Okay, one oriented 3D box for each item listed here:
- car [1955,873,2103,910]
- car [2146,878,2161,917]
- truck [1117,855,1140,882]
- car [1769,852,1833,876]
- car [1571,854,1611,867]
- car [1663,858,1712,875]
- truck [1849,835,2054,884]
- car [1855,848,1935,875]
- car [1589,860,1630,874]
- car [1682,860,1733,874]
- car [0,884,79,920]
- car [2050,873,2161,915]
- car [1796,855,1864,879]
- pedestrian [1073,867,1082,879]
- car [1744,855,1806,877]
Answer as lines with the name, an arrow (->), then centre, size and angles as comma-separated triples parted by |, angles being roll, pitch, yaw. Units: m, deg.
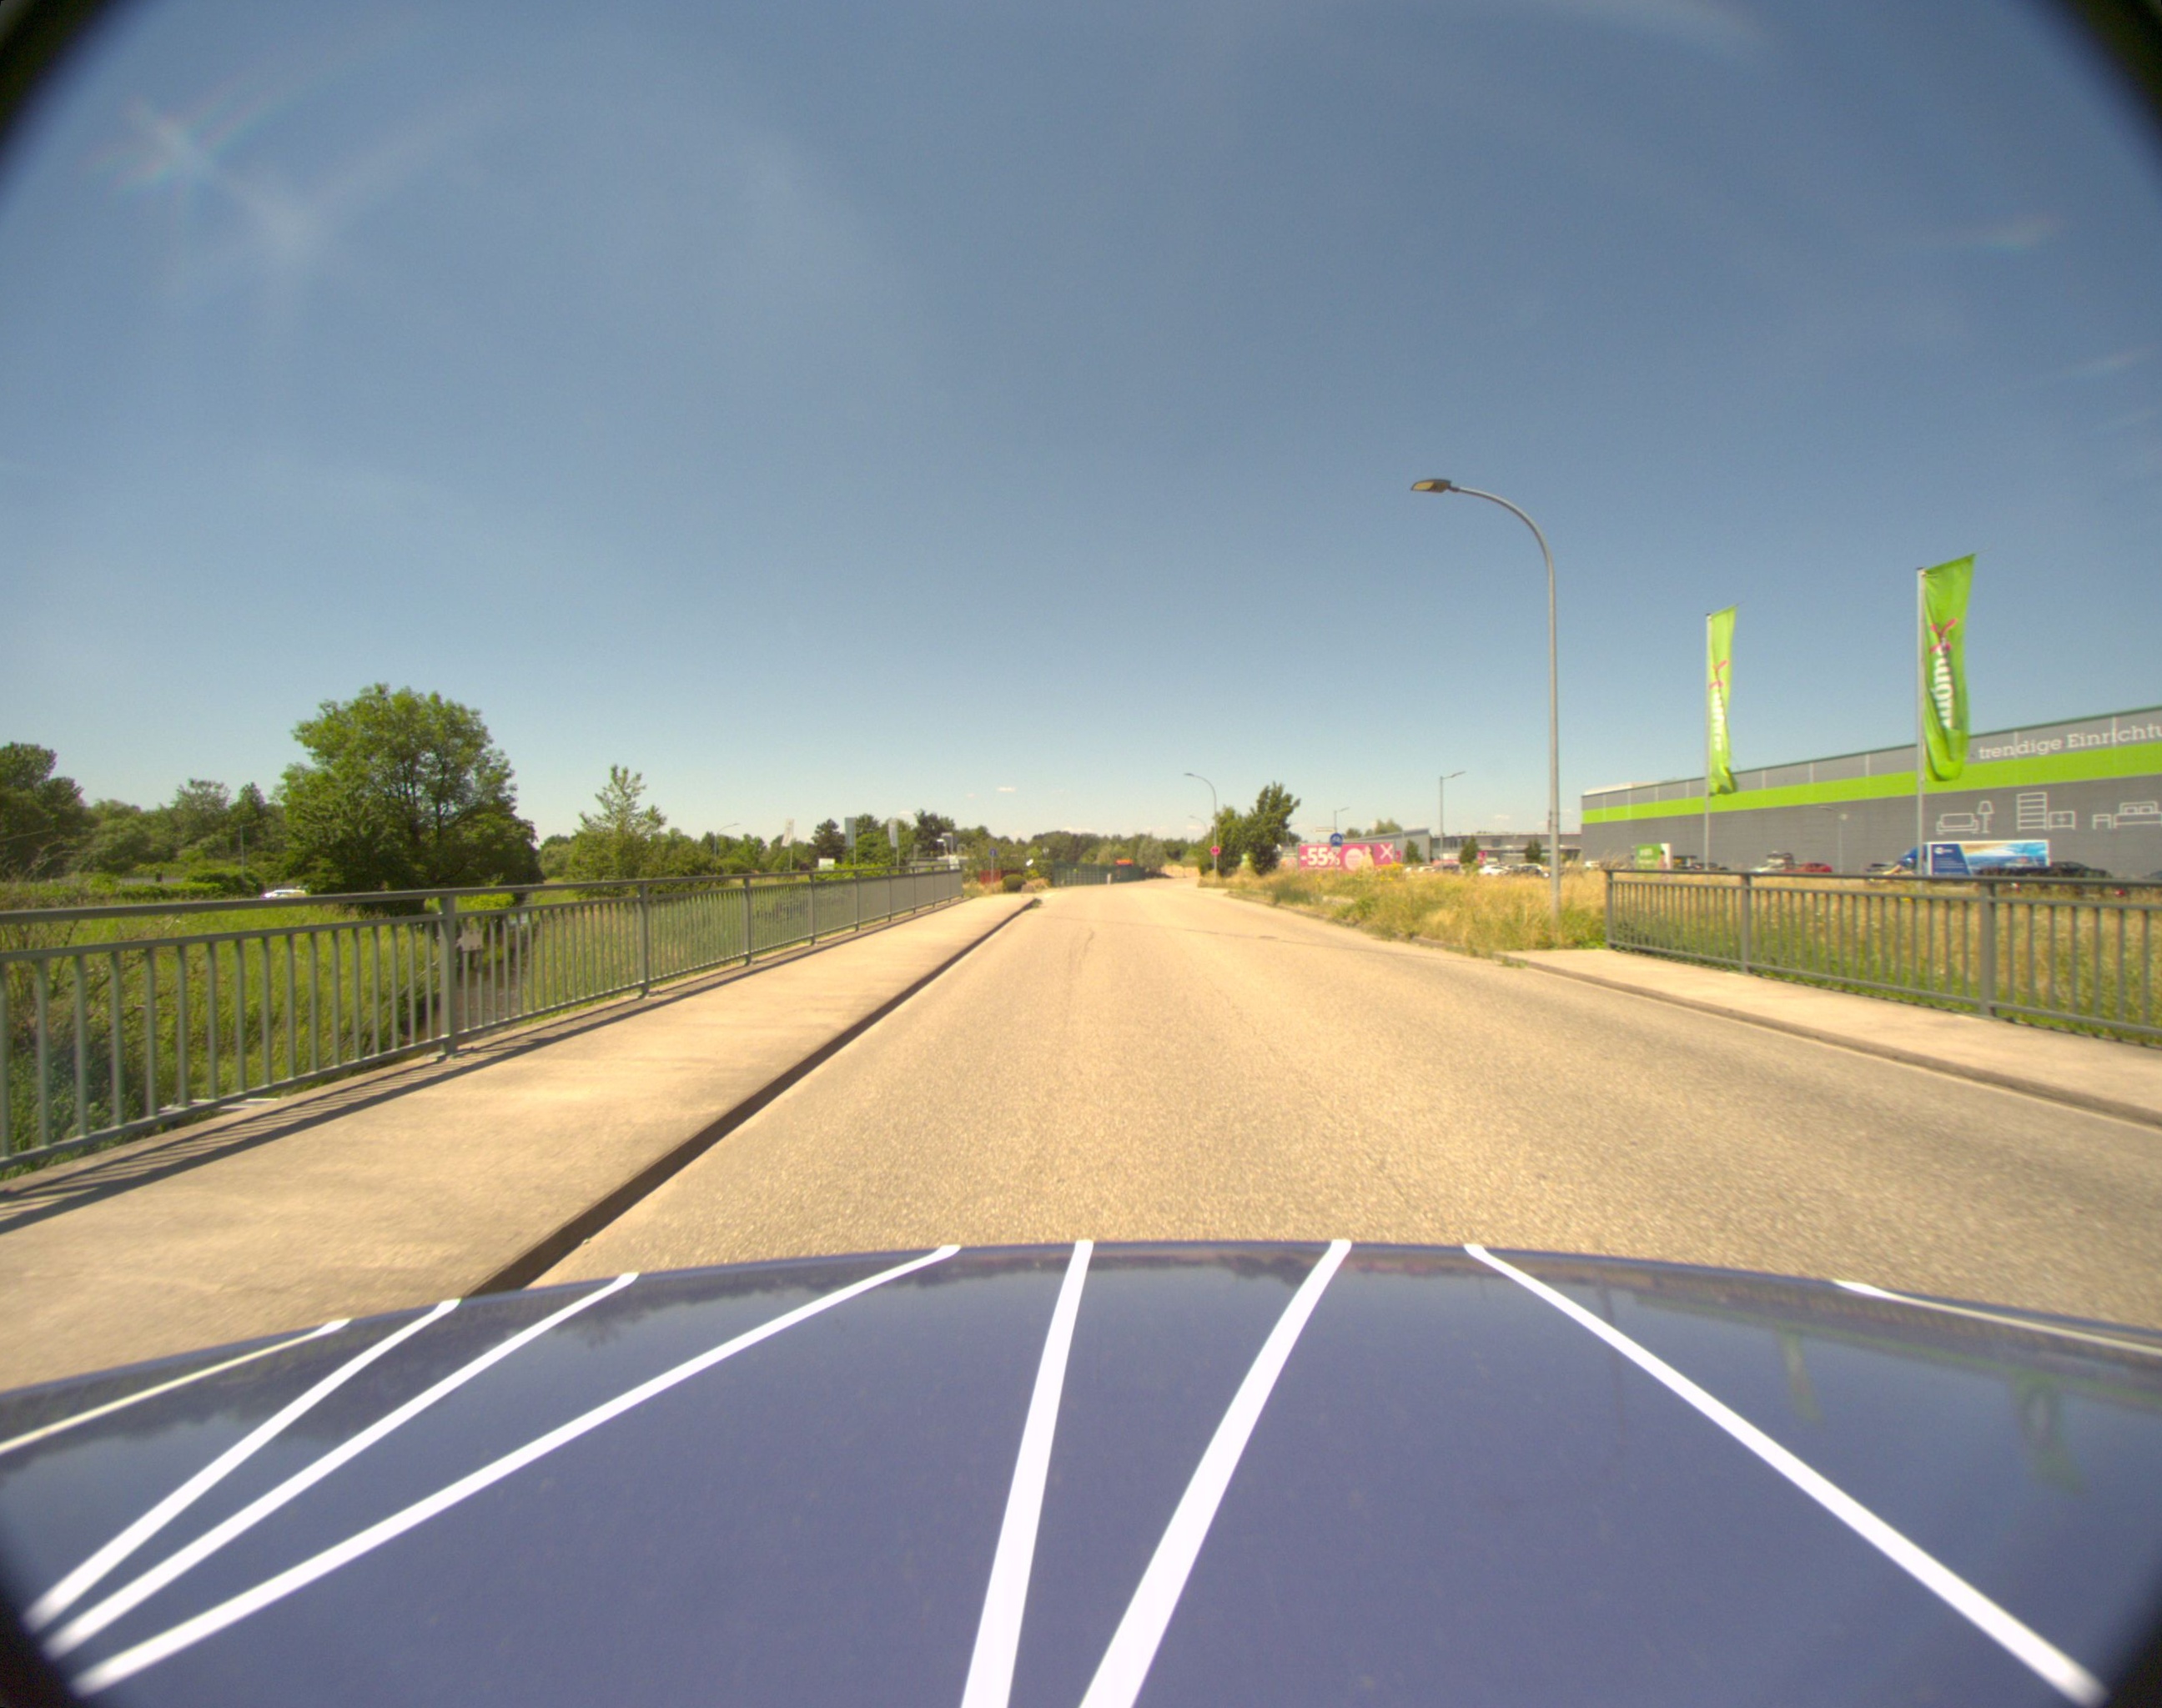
car -> 43.120, 1.678, 34.651 | 3.996, 1.458, 2.001 | -2, -1, 4
car -> 43.100, 1.580, 28.281 | 3.996, 1.428, 1.847 | -2, -1, 4
truck -> 7.856, 2.355, 124.022 | 2.845, 4.171, 8.140 | -2, -2, 9
car -> 68.056, 0.952, 71.889 | 3.995, 2.001, 1.912 | -2, -1, 6
car -> 70.680, 0.883, 105.330 | 3.995, 1.728, 2.001 | -2, 0, 6
car -> 70.287, 1.457, 88.111 | 3.995, 1.728, 2.001 | -2, 0, 6
truck -> 52.802, 0.409, 46.512 | 7.756, 2.667, 2.968 | -3, -2, 39
car -> 66.609, 0.593, 62.249 | 3.994, 2.001, 2.002 | -2, -1, 9
car -> 70.765, 1.778, 101.860 | 3.995, 1.728, 2.001 | -2, 0, 6
car -> 70.337, 1.495, 85.324 | 3.995, 1.513, 2.002 | -1, -1, 7
car -> -52.246, 2.349, 37.627 | 2.004, 1.614, 4.501 | 0, -1, -37
car -> 42.949, 1.601, 31.016 | 3.996, 1.503, 2.001 | -2, -1, 4
car -> 68.228, 1.144, 69.264 | 3.995, 2.001, 2.001 | -2, -1, 5
pedestrian -> -0.663, 3.221, 129.692 | 1.304, 2.001, 1.218 | -2, -1, 10
car -> 68.478, 1.174, 75.036 | 3.993, 2.001, 1.913 | -2, -1, 11
